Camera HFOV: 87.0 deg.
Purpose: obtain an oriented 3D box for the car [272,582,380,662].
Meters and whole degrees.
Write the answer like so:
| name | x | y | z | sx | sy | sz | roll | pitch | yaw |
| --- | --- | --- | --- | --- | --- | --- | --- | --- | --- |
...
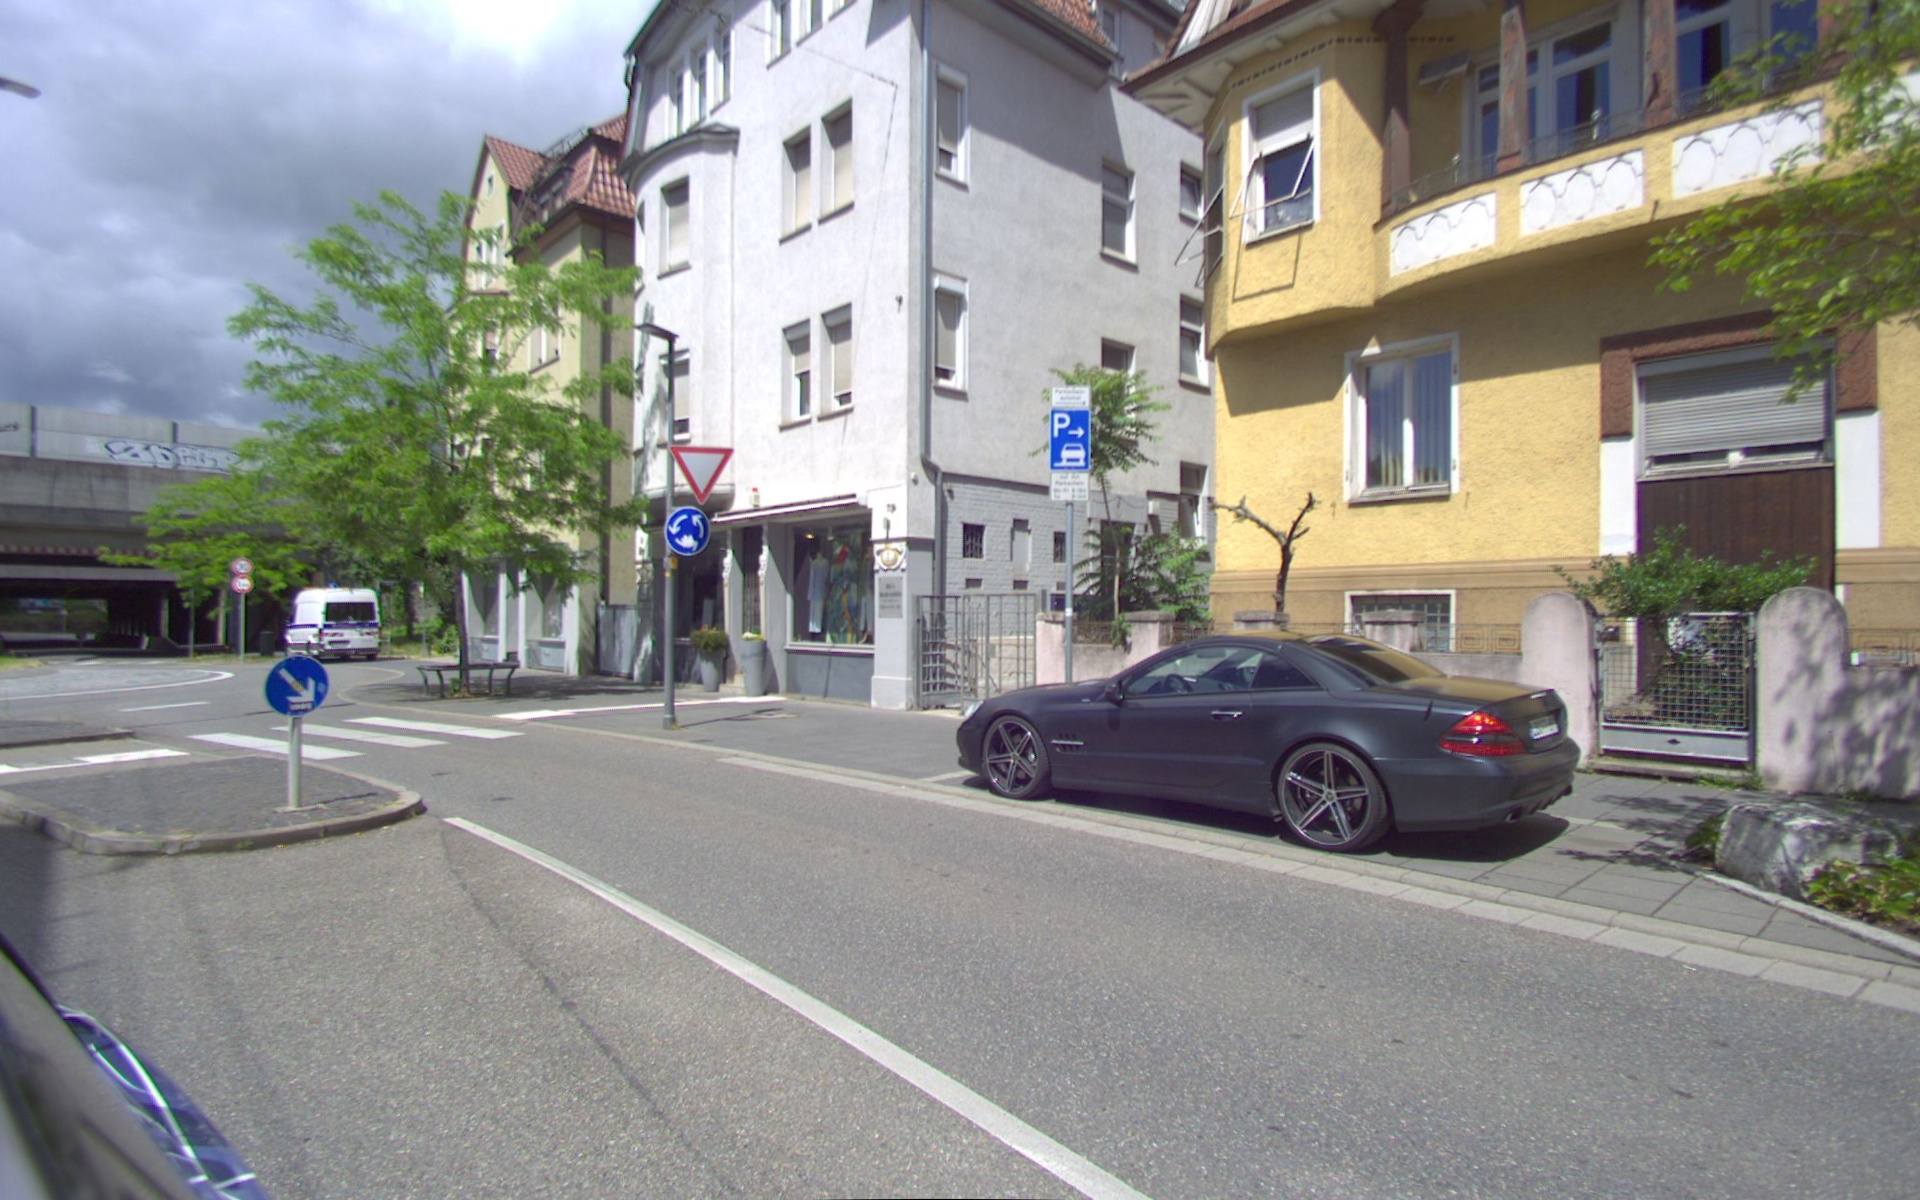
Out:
| name | x | y | z | sx | sy | sz | roll | pitch | yaw |
| --- | --- | --- | --- | --- | --- | --- | --- | --- | --- |
| car | -22.745 | 0.787 | 36.176 | 5.933 | 2.626 | 1.945 | -2 | -1 | 45 |

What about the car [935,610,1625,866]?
| name | x | y | z | sx | sy | sz | roll | pitch | yaw |
| --- | --- | --- | --- | --- | --- | --- | --- | --- | --- |
| car | 1.934 | 0.749 | 7.211 | 1.689 | 1.255 | 4.415 | 0 | -2 | -44 |
